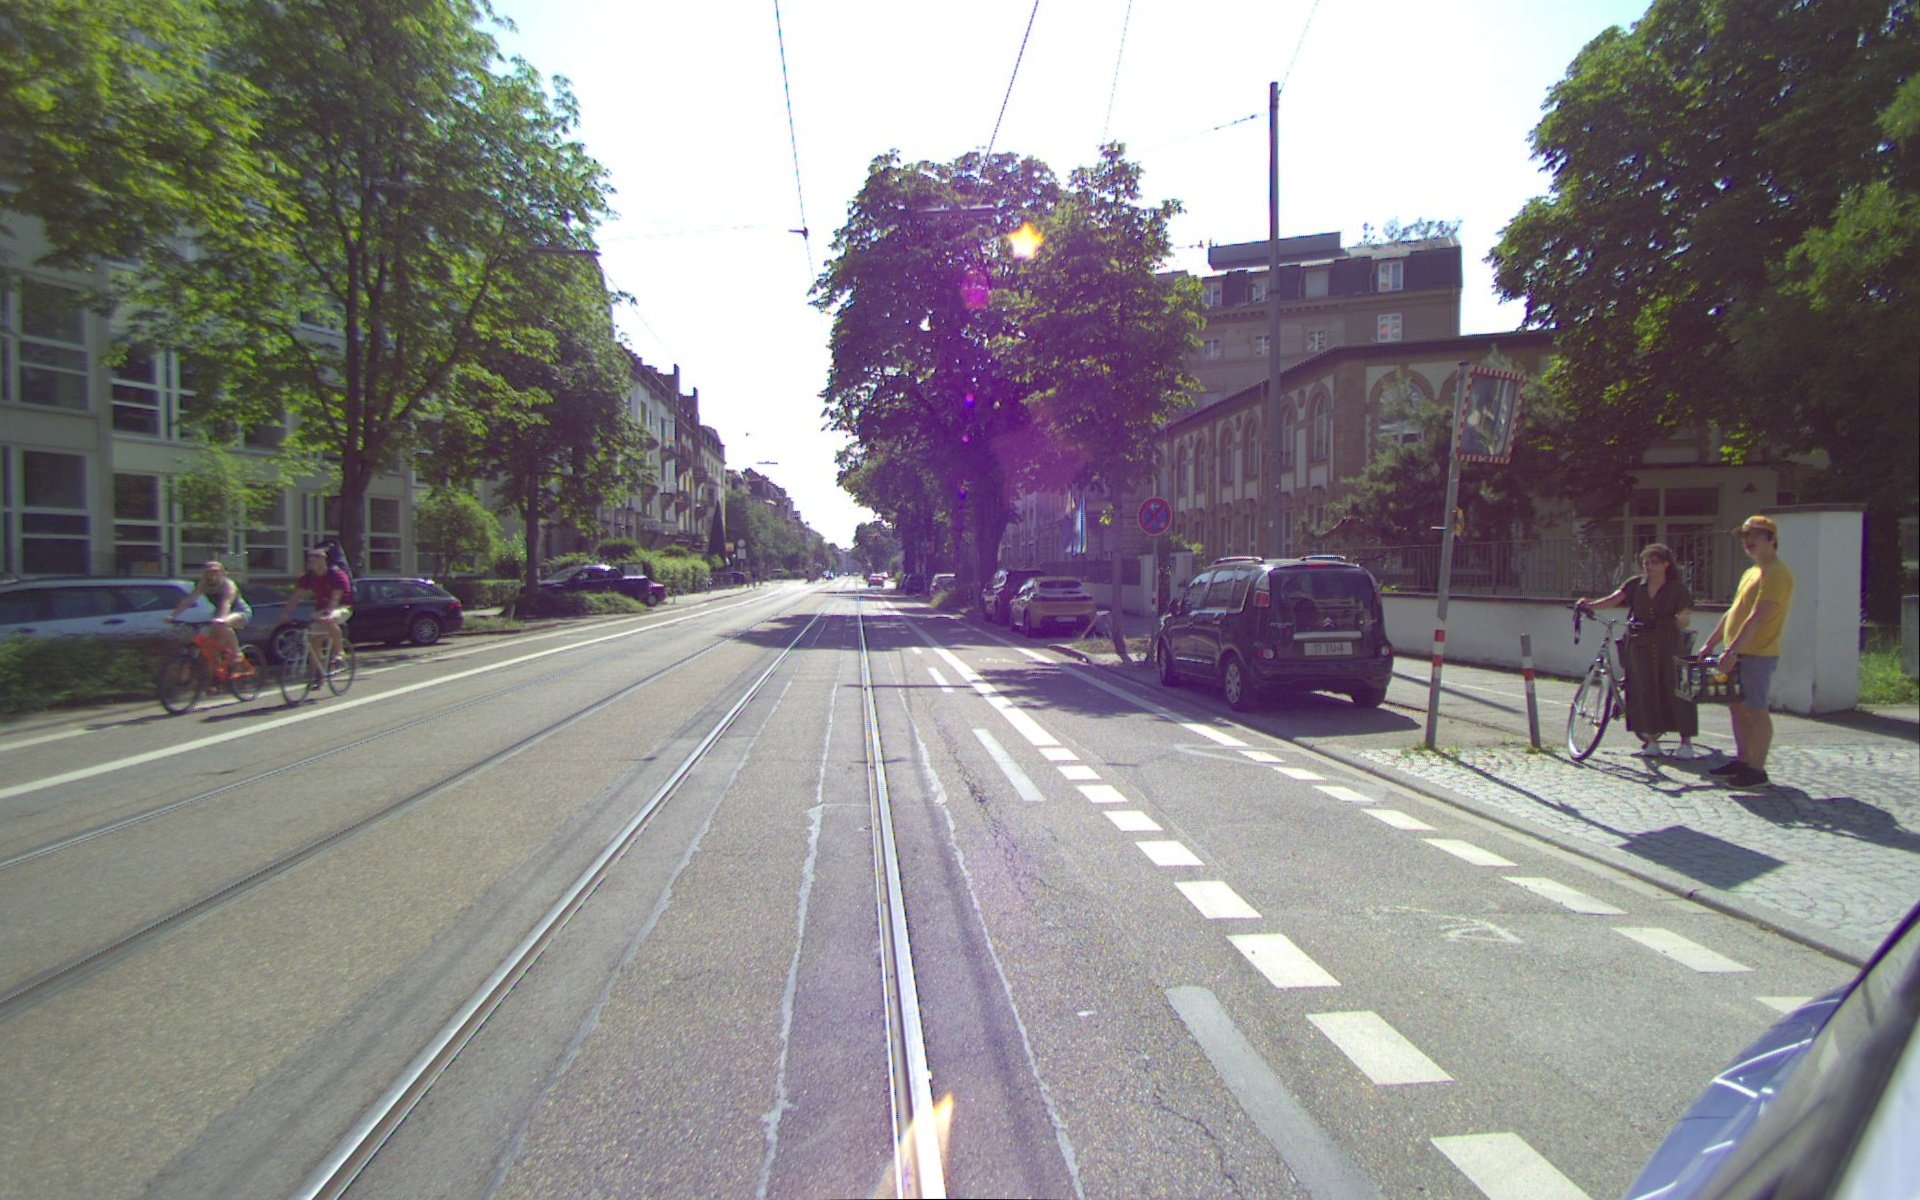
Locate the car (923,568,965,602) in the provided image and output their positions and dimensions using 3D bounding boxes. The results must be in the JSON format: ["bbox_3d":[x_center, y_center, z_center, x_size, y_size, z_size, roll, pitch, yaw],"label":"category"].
[{"bbox_3d":[-0.893,-0.814,53.707,1.819,1.700,4.006,0,2,-7],"label":"car"}]

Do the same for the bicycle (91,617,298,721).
[{"bbox_3d":[-8.484,0.714,11.379,0.667,0.928,2.323,0,2,-3],"label":"bicycle"}]

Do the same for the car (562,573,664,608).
[{"bbox_3d":[-15.750,-0.472,46.083,1.990,1.526,3.946,1,2,38],"label":"car"}]

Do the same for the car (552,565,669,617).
[{"bbox_3d":[-13.558,-0.407,39.444,1.984,1.882,3.956,1,2,31],"label":"car"}]

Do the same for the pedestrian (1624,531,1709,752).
[{"bbox_3d":[5.457,0.300,7.815,0.445,1.641,0.422,-1,1,-36],"label":"pedestrian"}]

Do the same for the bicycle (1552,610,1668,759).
[{"bbox_3d":[5.226,0.632,8.106,1.486,1.054,0.363,-2,2,-41],"label":"bicycle"}]

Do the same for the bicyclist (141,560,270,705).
[{"bbox_3d":[-8.429,0.336,11.344,0.789,1.562,0.865,0,1,-3],"label":"bicyclist"}]

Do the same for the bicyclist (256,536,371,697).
[{"bbox_3d":[-7.571,0.171,11.894,0.789,1.823,0.865,0,1,-3],"label":"bicyclist"}]

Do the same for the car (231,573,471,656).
[{"bbox_3d":[-12.227,0.210,20.519,1.550,1.504,3.891,1,2,38],"label":"car"}]

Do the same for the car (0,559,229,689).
[{"bbox_3d":[-12.410,0.287,13.289,1.549,1.624,4.290,0,2,36],"label":"car"}]

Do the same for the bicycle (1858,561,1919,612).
[{"bbox_3d":[22.495,-0.342,24.331,0.580,1.176,2.090,0,2,19],"label":"bicycle"}]

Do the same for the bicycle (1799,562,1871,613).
[{"bbox_3d":[21.059,-0.319,24.409,0.580,1.176,2.090,0,2,19],"label":"bicycle"}]

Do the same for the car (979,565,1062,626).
[{"bbox_3d":[1.766,-0.195,30.746,1.819,1.700,4.006,0,2,-7],"label":"car"}]

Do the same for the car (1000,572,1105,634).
[{"bbox_3d":[2.241,0.013,25.608,1.819,1.429,4.006,0,2,-7],"label":"car"}]

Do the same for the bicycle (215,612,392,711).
[{"bbox_3d":[-7.557,0.661,11.813,0.667,0.928,2.323,0,2,-3],"label":"bicycle"}]

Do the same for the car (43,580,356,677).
[{"bbox_3d":[-12.408,0.374,16.730,1.550,1.374,3.891,1,2,38],"label":"car"}]

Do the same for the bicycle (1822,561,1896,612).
[{"bbox_3d":[21.812,-0.343,24.594,0.580,1.176,2.090,0,2,19],"label":"bicycle"}]

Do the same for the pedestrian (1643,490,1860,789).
[{"bbox_3d":[5.320,0.239,6.872,0.840,1.888,0.827,0,1,10],"label":"pedestrian"}]

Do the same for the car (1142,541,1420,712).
[{"bbox_3d":[3.614,0.198,12.226,1.820,1.704,4.005,0,2,-4],"label":"car"}]

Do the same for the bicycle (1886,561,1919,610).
[{"bbox_3d":[23.112,-0.357,24.230,0.580,1.176,2.090,0,2,19],"label":"bicycle"}]
